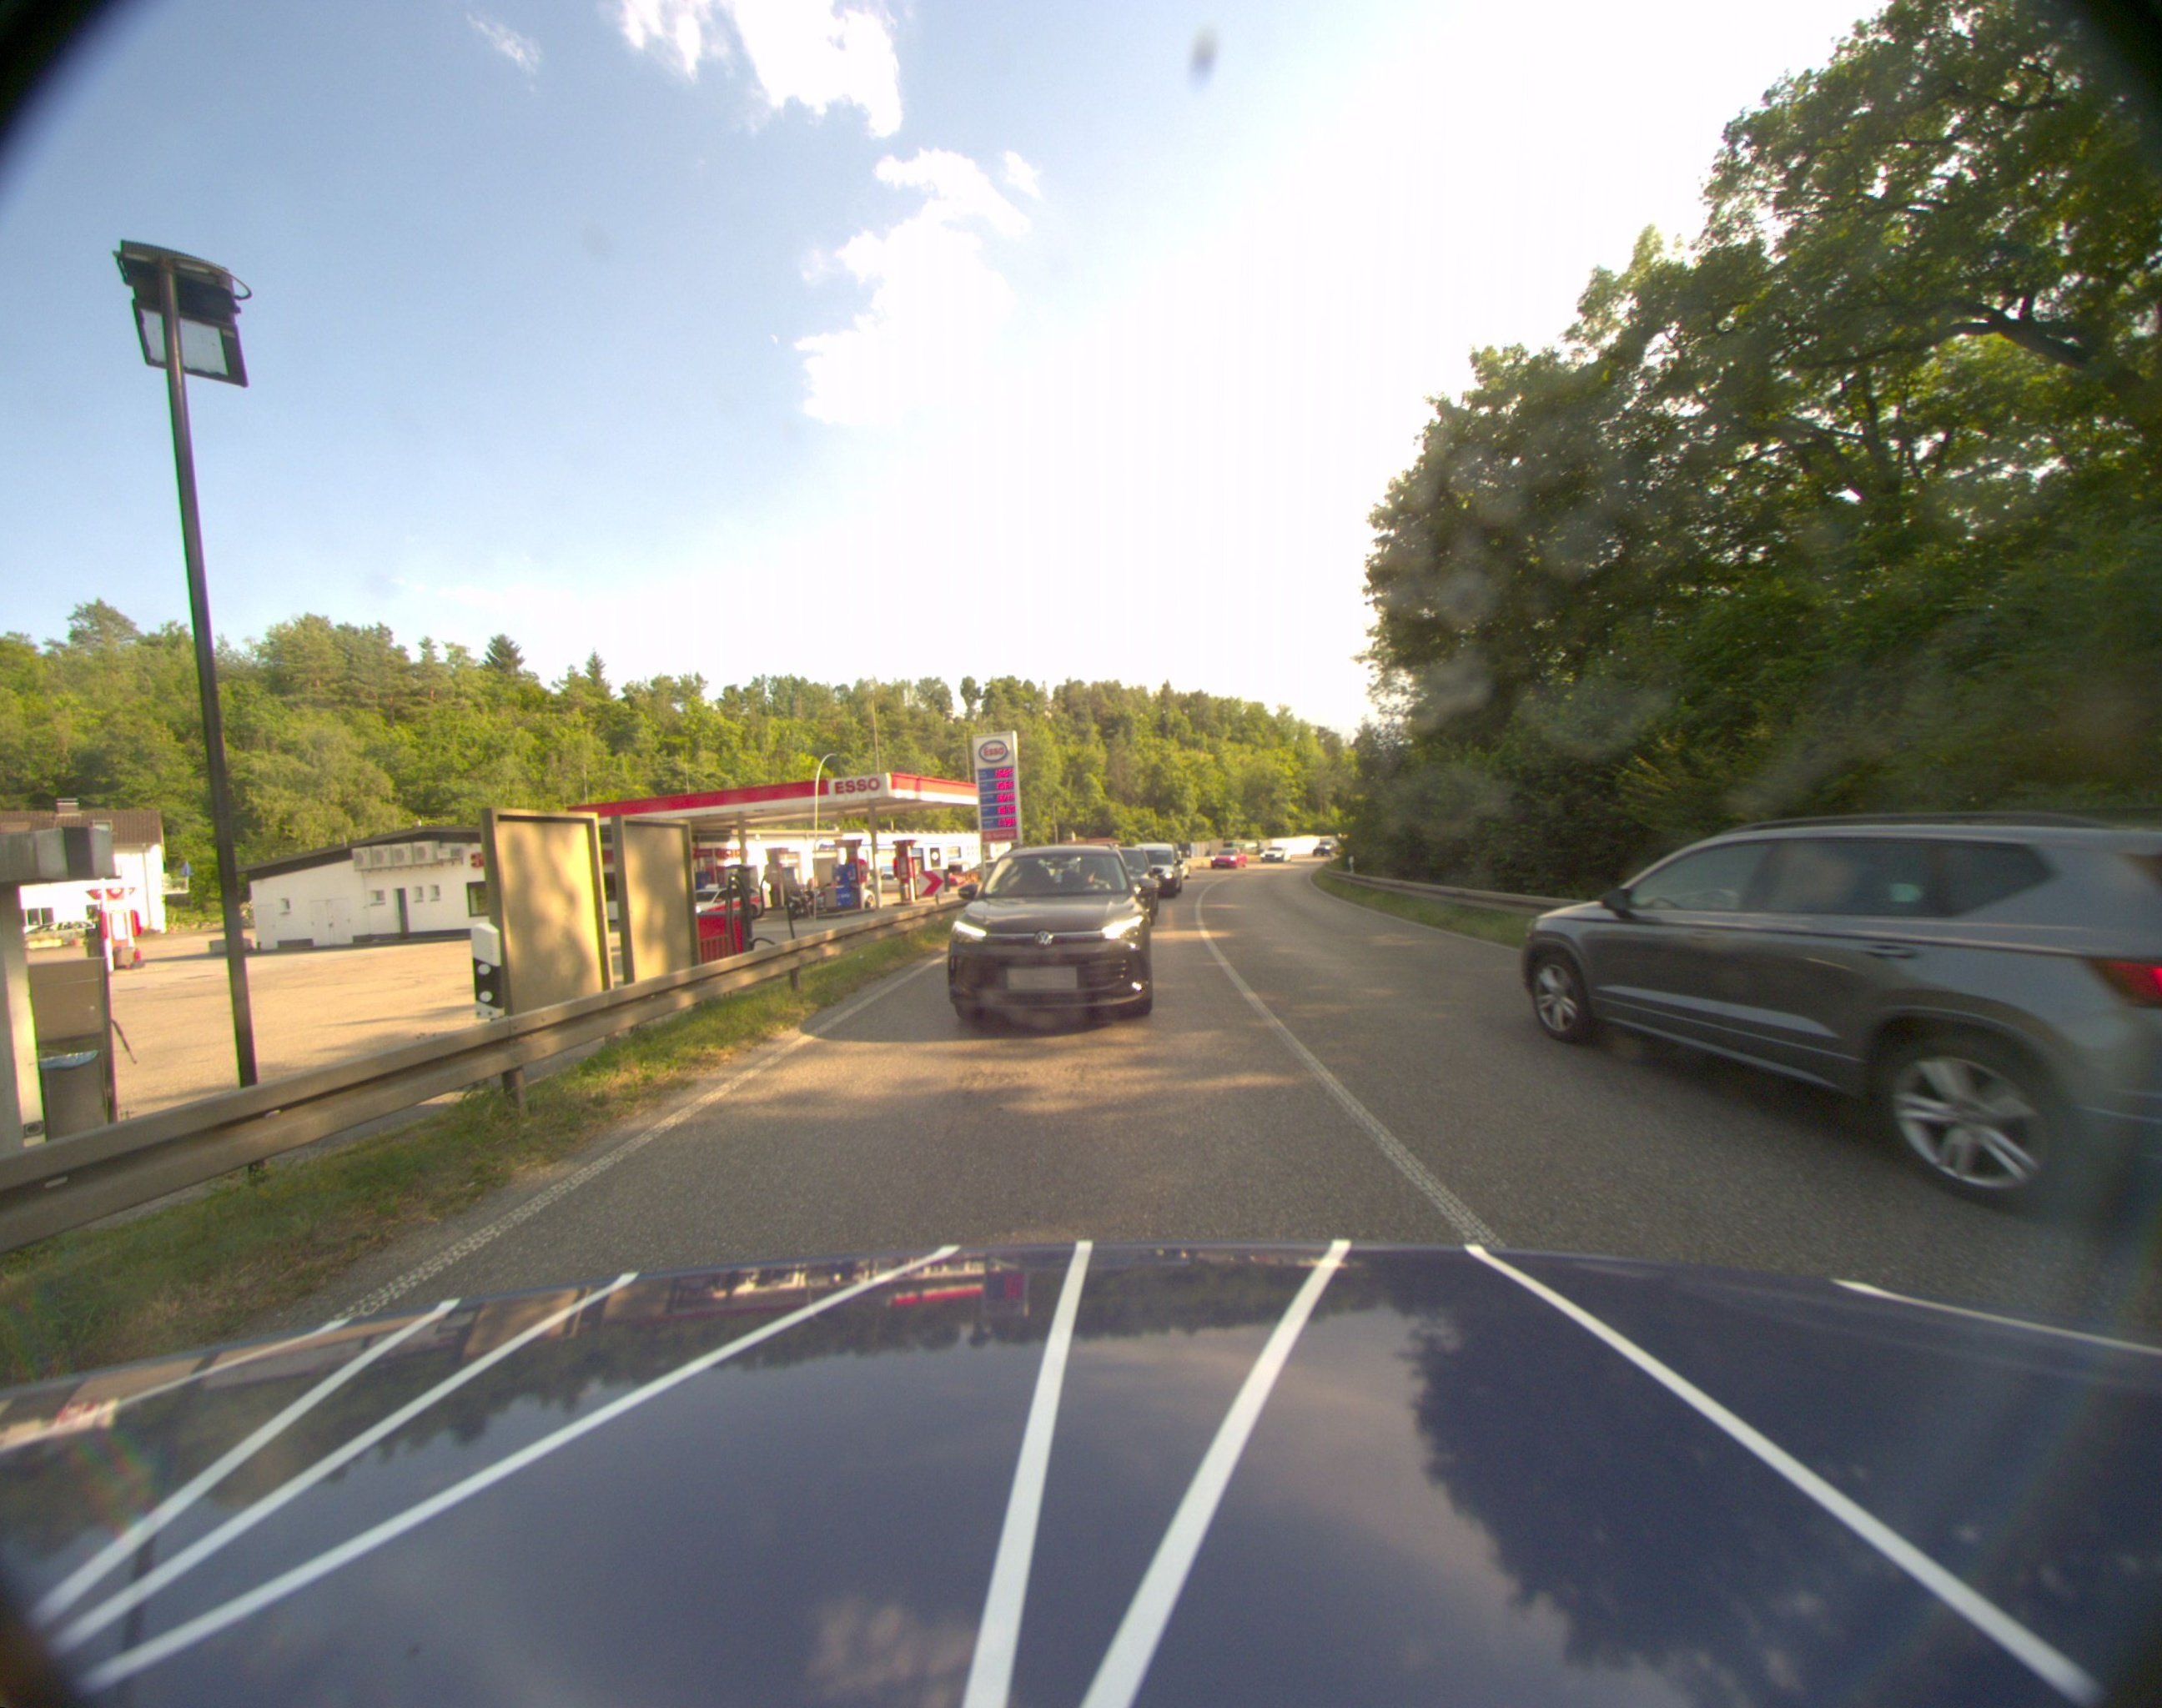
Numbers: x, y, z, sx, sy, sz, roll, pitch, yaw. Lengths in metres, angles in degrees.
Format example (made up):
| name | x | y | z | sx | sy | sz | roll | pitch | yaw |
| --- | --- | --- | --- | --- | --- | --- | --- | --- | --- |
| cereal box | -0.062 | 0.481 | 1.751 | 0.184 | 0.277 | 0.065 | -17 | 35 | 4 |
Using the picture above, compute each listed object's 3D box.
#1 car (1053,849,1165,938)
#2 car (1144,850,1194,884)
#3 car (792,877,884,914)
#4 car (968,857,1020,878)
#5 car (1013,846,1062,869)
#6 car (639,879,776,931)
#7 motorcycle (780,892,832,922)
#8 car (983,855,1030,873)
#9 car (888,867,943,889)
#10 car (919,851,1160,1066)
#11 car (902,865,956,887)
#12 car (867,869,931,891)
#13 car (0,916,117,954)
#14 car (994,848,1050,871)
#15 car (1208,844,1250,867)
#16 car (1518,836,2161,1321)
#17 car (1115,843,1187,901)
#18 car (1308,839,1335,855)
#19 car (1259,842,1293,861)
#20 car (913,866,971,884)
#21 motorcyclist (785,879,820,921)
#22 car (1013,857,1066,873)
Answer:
| name | x | y | z | sx | sy | sz | roll | pitch | yaw |
| --- | --- | --- | --- | --- | --- | --- | --- | --- | --- |
| car | 0.746 | 0.738 | 16.334 | 1.847 | 1.561 | 4.259 | -2 | 1 | 9 |
| car | 4.461 | 0.609 | 37.877 | 1.895 | 1.437 | 4.480 | -4 | 0 | 13 |
| car | -10.979 | 1.870 | 34.740 | 1.845 | 1.311 | 4.394 | -3 | 0 | 15 |
| car | -7.747 | 1.194 | 67.780 | 4.254 | 1.719 | 1.893 | -1 | 1 | 12 |
| car | -4.820 | 0.412 | 84.635 | 4.915 | 2.435 | 2.209 | -1 | 1 | 13 |
| car | -15.070 | 2.019 | 31.091 | 2.095 | 1.618 | 5.185 | -3 | 0 | 14 |
| motorcycle | -11.256 | 2.163 | 31.200 | 0.763 | 1.006 | 2.343 | -3 | 1 | 14 |
| car | -7.502 | 1.014 | 76.471 | 4.246 | 1.601 | 1.896 | -2 | 1 | 15 |
| car | -12.257 | 1.809 | 56.336 | 3.555 | 1.398 | 1.692 | -3 | 1 | 15 |
| car | -0.170 | 0.835 | 8.242 | 1.859 | 1.630 | 4.442 | -2 | 0 | 4 |
| car | -11.701 | 1.684 | 58.492 | 3.549 | 1.437 | 1.735 | -3 | 1 | 15 |
| car | -12.895 | 1.860 | 53.846 | 3.963 | 1.347 | 1.778 | -2 | 1 | 11 |
| car | -65.091 | 5.096 | 47.867 | 2.694 | 1.826 | 5.175 | -4 | 0 | 41 |
| car | -6.287 | 0.584 | 81.076 | 5.481 | 2.261 | 2.297 | -1 | 1 | 15 |
| car | 10.675 | 0.093 | 54.588 | 1.856 | 1.412 | 4.425 | -2 | 1 | 25 |
| car | 4.399 | 0.719 | 3.996 | 1.872 | 1.555 | 4.000 | -2 | -1 | 0 |
| car | 2.508 | 0.528 | 26.116 | 1.866 | 1.711 | 4.766 | -1 | 2 | 12 |
| car | 26.949 | -0.831 | 84.954 | 1.856 | 1.587 | 4.544 | -4 | 0 | 30 |
| car | 17.550 | -0.268 | 68.180 | 1.912 | 1.457 | 4.544 | -4 | 0 | 28 |
| car | -11.040 | 1.682 | 60.522 | 4.072 | 1.340 | 1.896 | -1 | 1 | 15 |
| motorcyclist | -11.341 | 1.863 | 30.964 | 0.859 | 1.595 | 0.928 | -3 | 1 | 14 |
| car | -3.965 | 1.095 | 73.520 | 4.727 | 1.426 | 1.959 | -1 | 1 | 13 |
